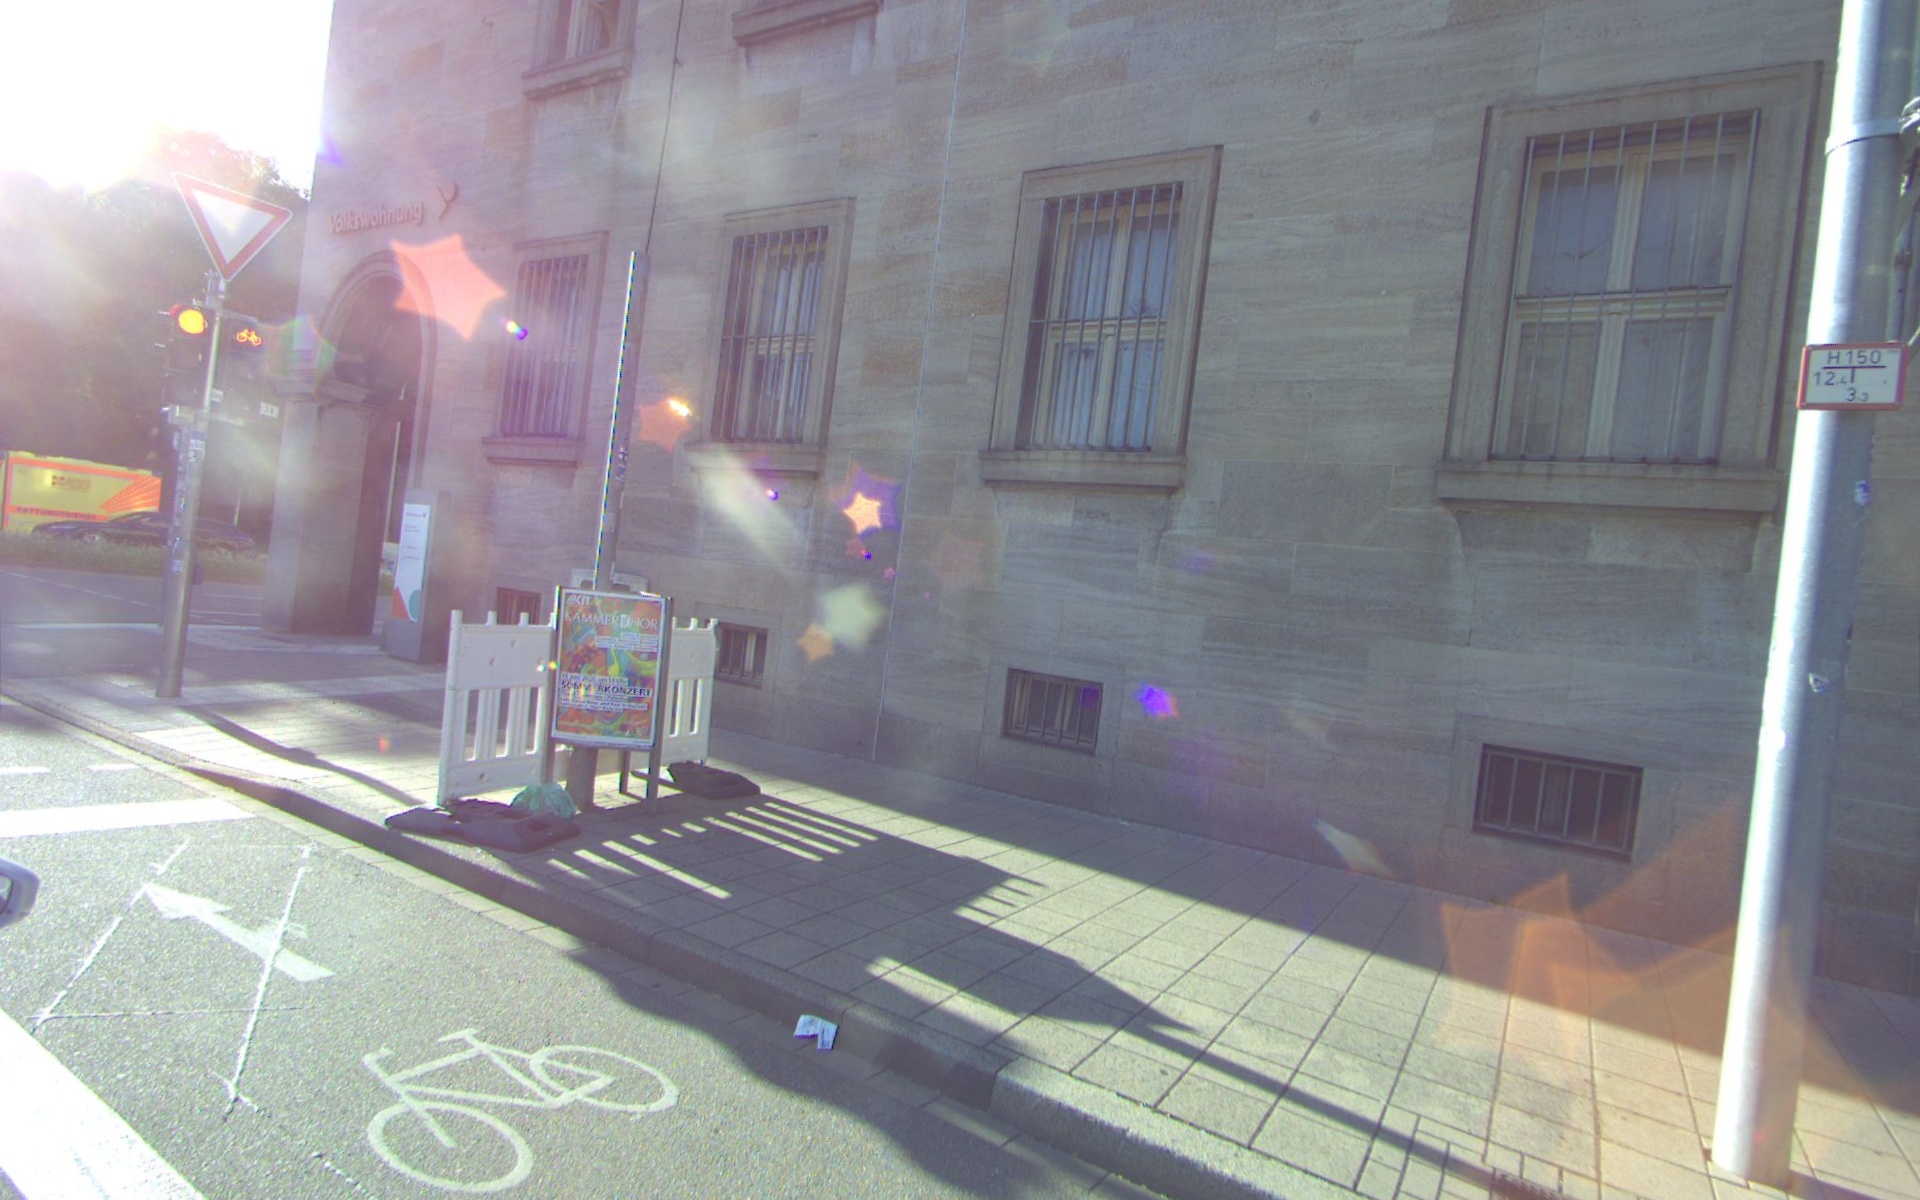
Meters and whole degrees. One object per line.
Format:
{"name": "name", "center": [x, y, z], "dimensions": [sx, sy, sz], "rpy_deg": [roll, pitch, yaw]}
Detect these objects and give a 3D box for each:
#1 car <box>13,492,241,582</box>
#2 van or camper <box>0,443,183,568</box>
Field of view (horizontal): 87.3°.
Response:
{"name": "car", "center": [-22.653, -1.668, 27.550], "dimensions": [1.857, 1.665, 4.324], "rpy_deg": [6, -3, 32]}
{"name": "van or camper", "center": [-27.774, -2.962, 29.835], "dimensions": [2.866, 2.893, 6.716], "rpy_deg": [6, -3, 36]}
